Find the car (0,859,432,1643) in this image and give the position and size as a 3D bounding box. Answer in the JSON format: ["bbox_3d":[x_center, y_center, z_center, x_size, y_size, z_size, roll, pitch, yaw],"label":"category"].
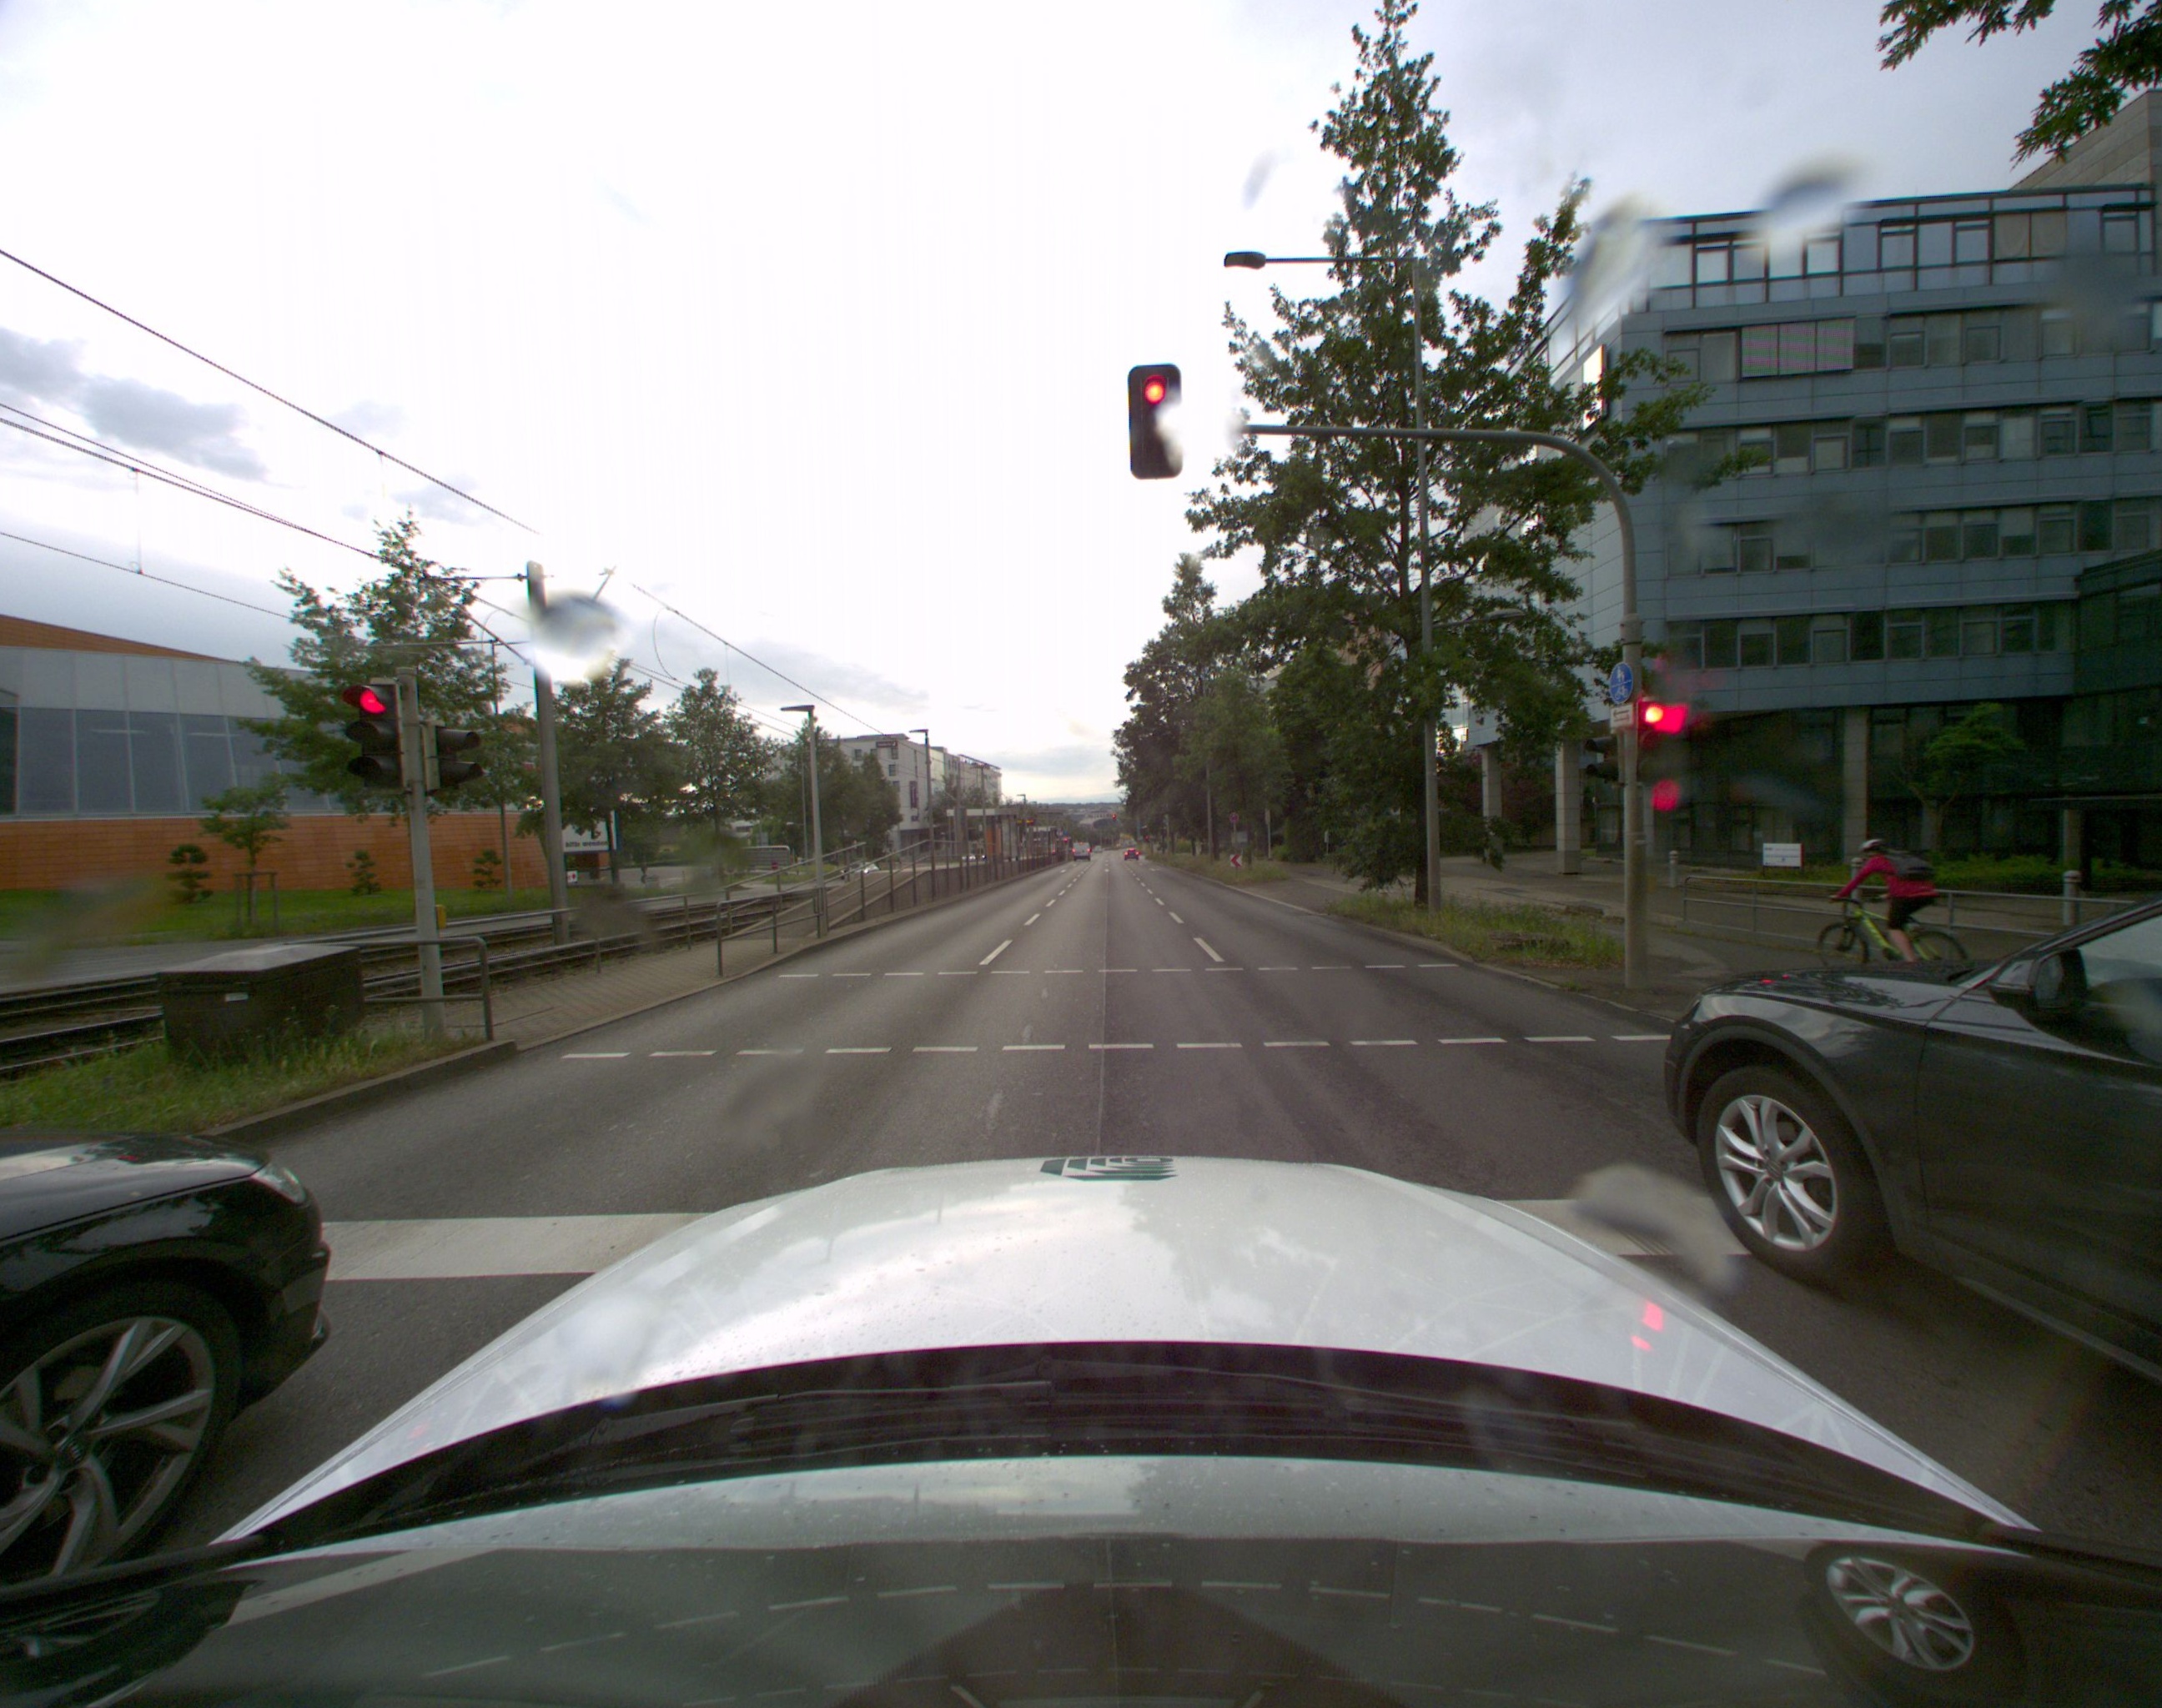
[{"bbox_3d":[-2.975,0.777,0.272,1.774,1.466,4.515,-1,0,2],"label":"car"}]

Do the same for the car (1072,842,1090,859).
[{"bbox_3d":[-0.023,-0.449,102.670,2.085,2.053,4.608,-1,0,2],"label":"car"}]

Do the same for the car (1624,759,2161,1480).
[{"bbox_3d":[3.299,0.578,1.413,1.811,1.612,4.472,-1,0,2],"label":"car"}]

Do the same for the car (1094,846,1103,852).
[{"bbox_3d":[3.962,-1.152,186.211,1.775,1.390,4.004,-2,0,3],"label":"car"}]

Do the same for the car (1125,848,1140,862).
[{"bbox_3d":[6.491,0.109,102.831,1.767,1.691,3.847,-1,0,2],"label":"car"}]

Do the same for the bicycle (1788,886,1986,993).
[{"bbox_3d":[9.745,0.989,9.961,0.578,1.088,1.906,0,0,2],"label":"bicycle"}]

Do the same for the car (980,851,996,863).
[{"bbox_3d":[-12.460,0.402,108.876,1.651,1.436,3.865,-4,0,-11],"label":"car"}]

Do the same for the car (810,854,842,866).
[{"bbox_3d":[-29.543,0.702,94.298,3.341,1.387,1.440,-1,0,18],"label":"car"}]

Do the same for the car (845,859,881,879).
[{"bbox_3d":[-17.510,1.160,65.486,1.644,1.436,3.881,-4,0,2],"label":"car"}]

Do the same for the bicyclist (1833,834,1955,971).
[{"bbox_3d":[9.755,0.559,9.803,0.643,1.578,0.855,0,0,1],"label":"bicyclist"}]

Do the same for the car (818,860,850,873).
[{"bbox_3d":[-29.135,1.452,96.216,3.341,1.387,1.440,-1,0,18],"label":"car"}]
